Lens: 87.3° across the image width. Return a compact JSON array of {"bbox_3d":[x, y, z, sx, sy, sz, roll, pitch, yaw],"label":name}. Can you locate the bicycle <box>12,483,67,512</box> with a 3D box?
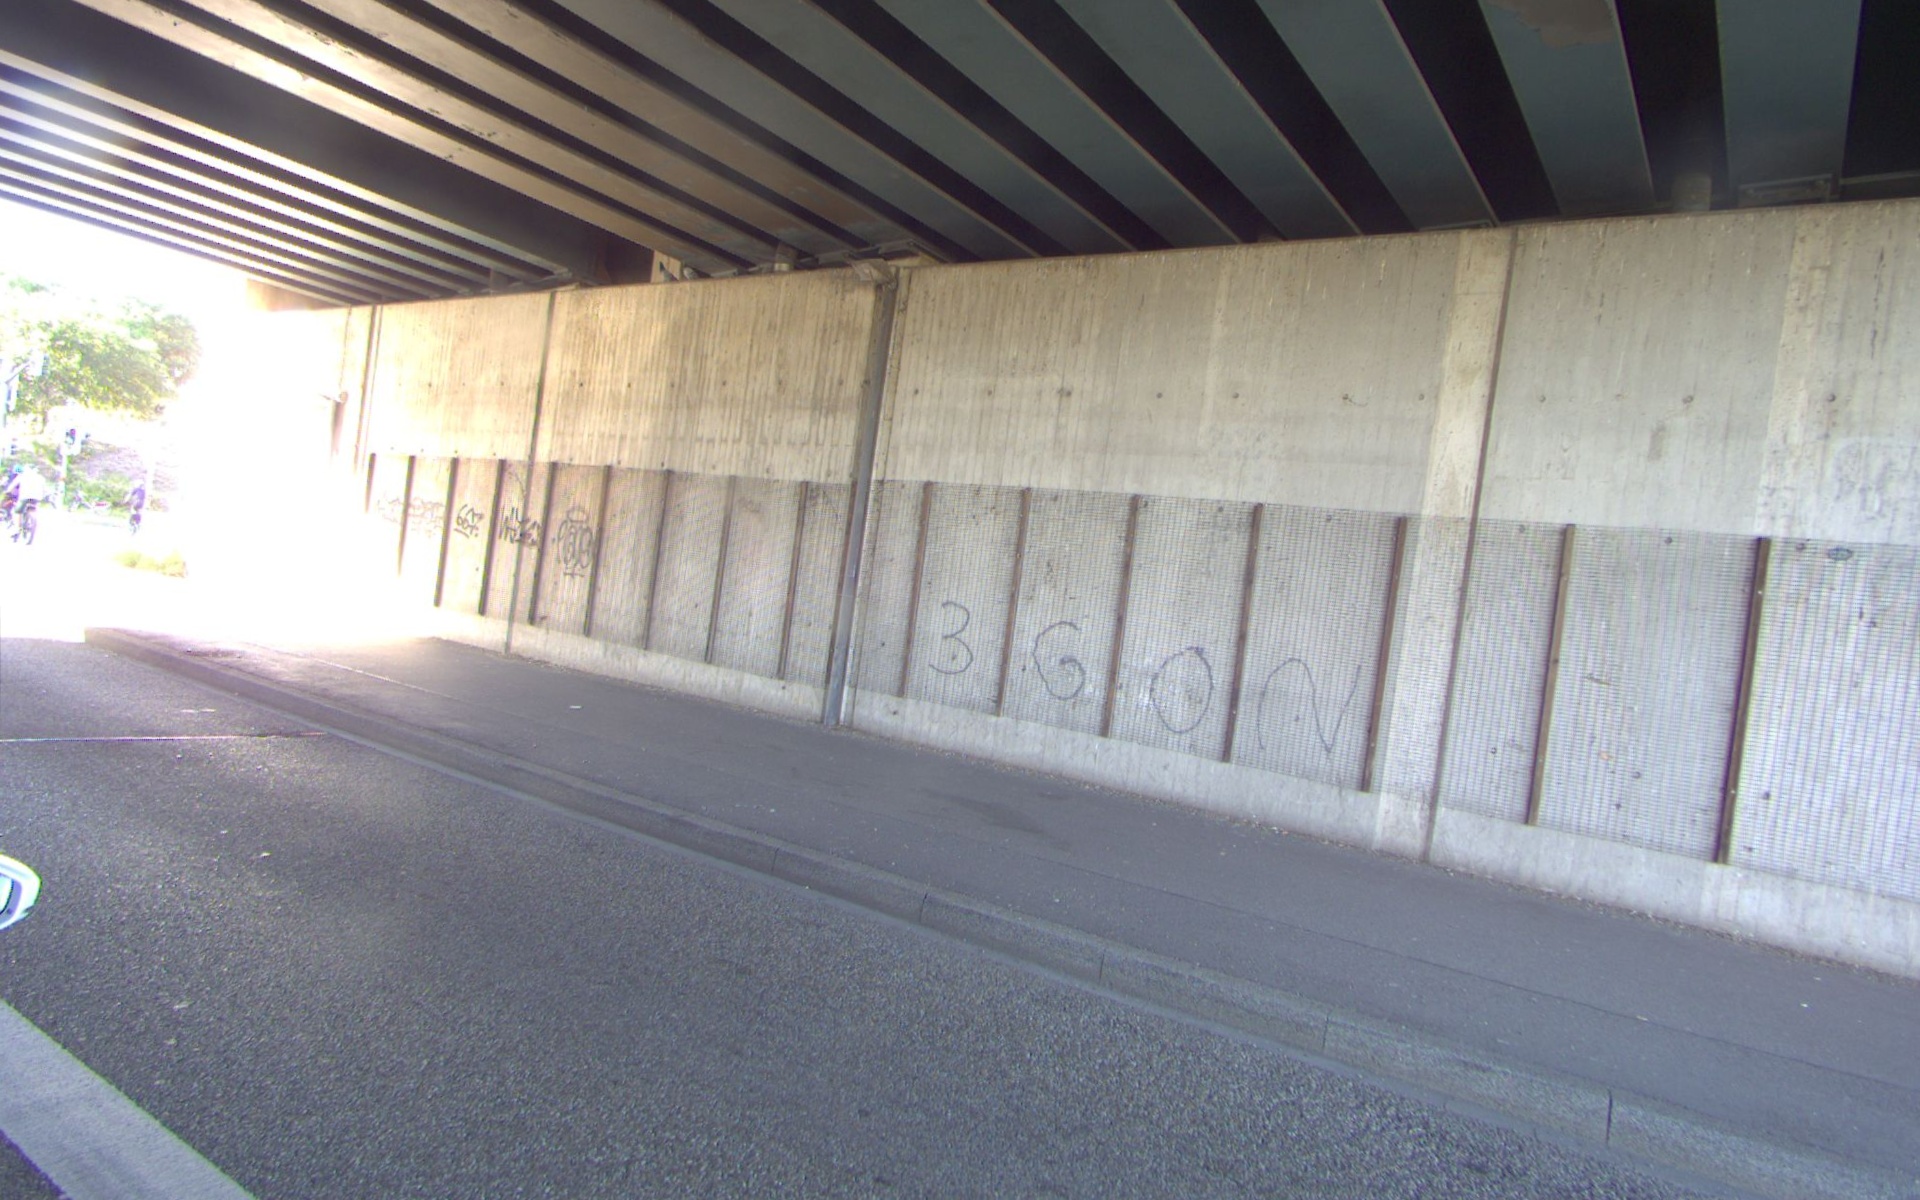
[{"bbox_3d":[-42.850,-4.773,46.825,0.585,1.035,1.744,6,-2,40],"label":"bicycle"}]

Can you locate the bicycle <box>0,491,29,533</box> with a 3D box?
[{"bbox_3d":[-26.560,-2.468,28.072,2.029,1.035,0.670,6,-2,44],"label":"bicycle"}]

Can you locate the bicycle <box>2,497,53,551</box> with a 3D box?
[{"bbox_3d":[-20.025,-1.643,21.593,1.727,1.035,0.591,6,-2,43],"label":"bicycle"}]

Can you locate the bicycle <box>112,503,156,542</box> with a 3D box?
[{"bbox_3d":[-26.865,-2.521,32.726,1.724,1.036,0.667,10,2,38],"label":"bicycle"}]

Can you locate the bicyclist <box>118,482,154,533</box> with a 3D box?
[{"bbox_3d":[-26.745,-3.004,32.669,0.609,1.499,0.649,8,0,38],"label":"bicyclist"}]

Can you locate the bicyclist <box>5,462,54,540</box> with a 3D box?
[{"bbox_3d":[-19.962,-2.115,21.580,0.759,1.566,0.591,6,-1,43],"label":"bicyclist"}]

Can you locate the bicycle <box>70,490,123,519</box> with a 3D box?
[{"bbox_3d":[-41.051,-4.521,47.838,0.586,1.035,1.743,6,-2,43],"label":"bicycle"}]

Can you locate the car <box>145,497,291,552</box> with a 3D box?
[{"bbox_3d":[-31.286,-3.171,42.547,1.801,1.531,4.548,6,-3,39],"label":"car"}]

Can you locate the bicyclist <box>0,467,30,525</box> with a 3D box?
[{"bbox_3d":[-26.449,-2.897,27.994,0.741,1.491,0.664,6,-1,44],"label":"bicyclist"}]
